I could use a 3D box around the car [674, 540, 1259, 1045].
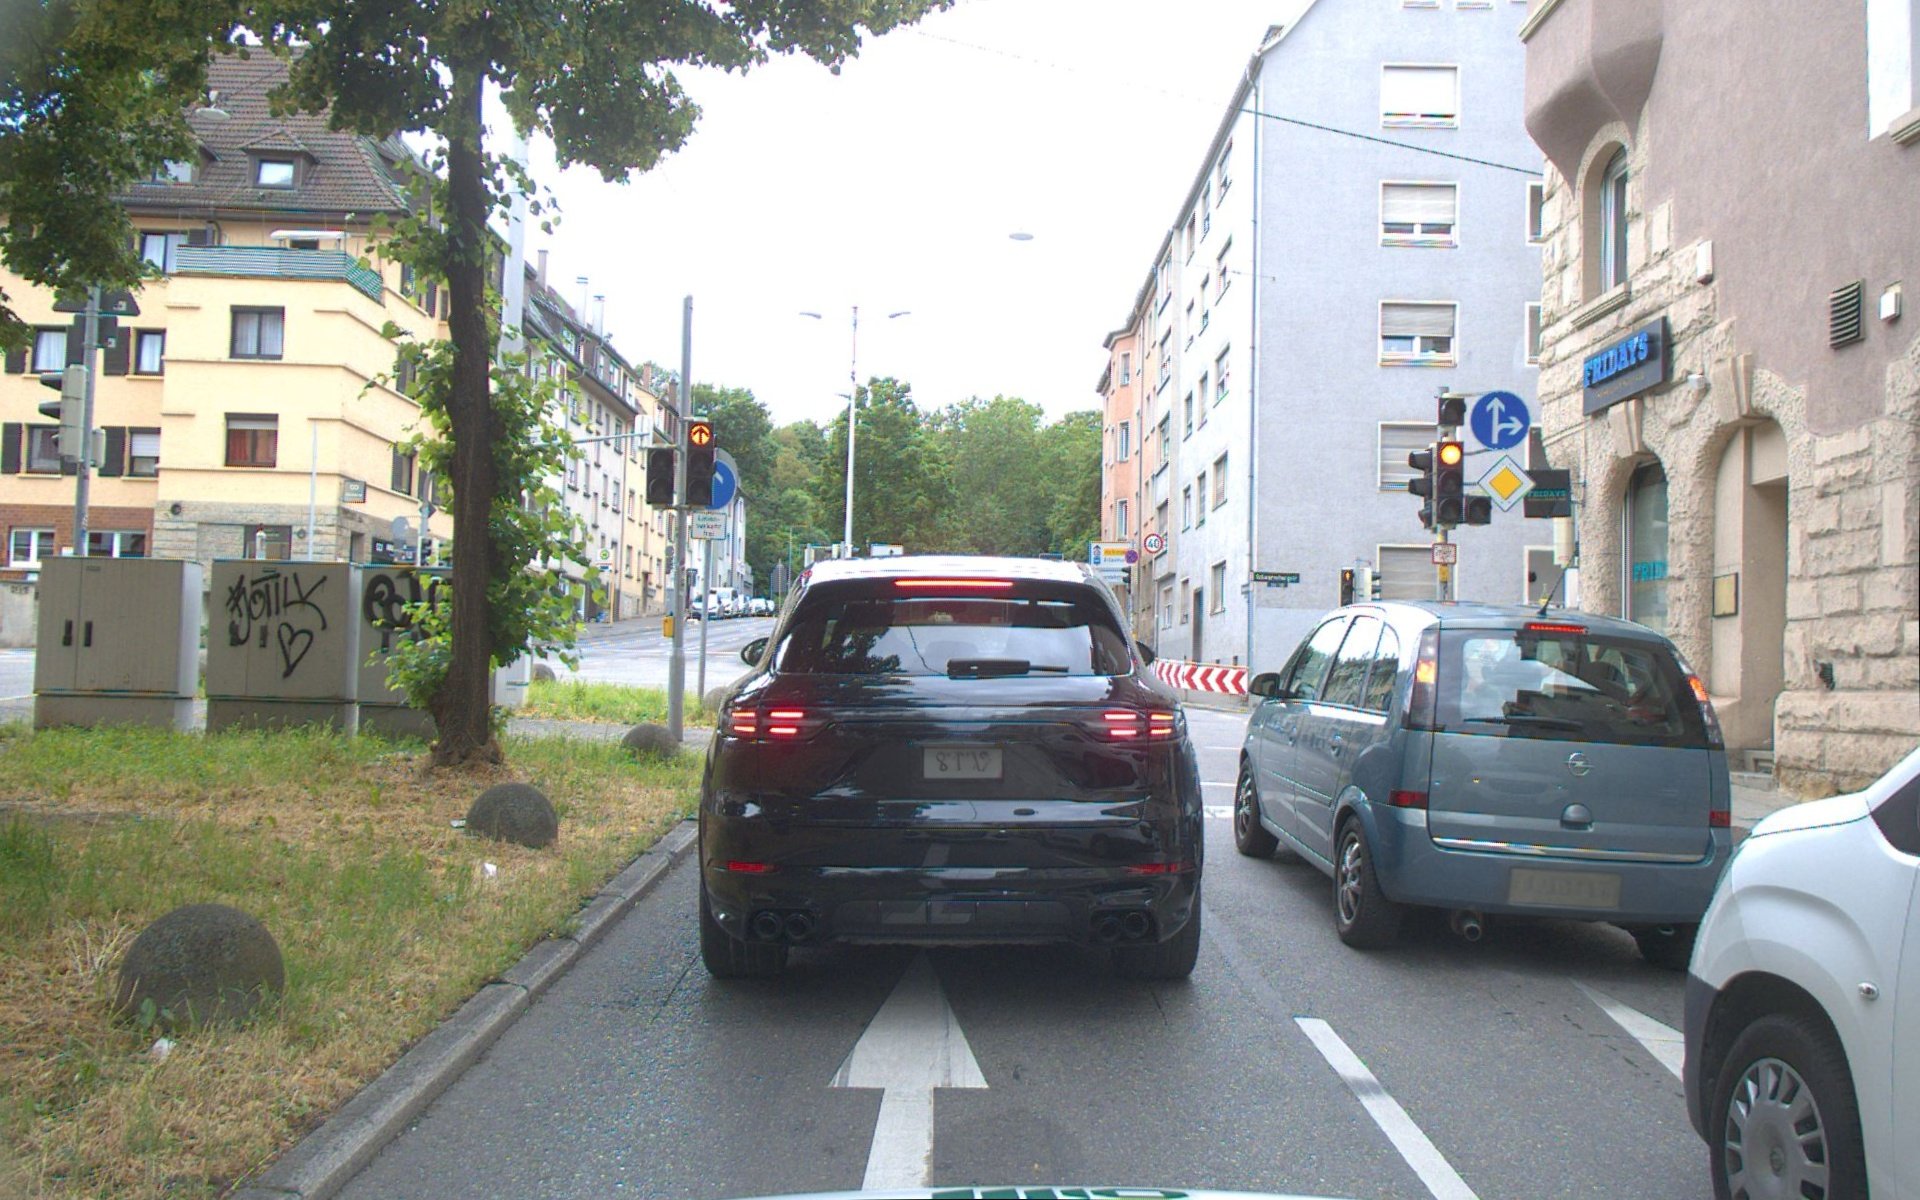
[{"bbox_3d":[0.050,0.628,7.564,1.953,1.681,4.001,1,0,1],"label":"car"}]

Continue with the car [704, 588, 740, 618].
[{"bbox_3d":[-14.975,0.177,104.139,1.758,1.841,3.999,1,0,-1],"label":"car"}]

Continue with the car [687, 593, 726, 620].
[{"bbox_3d":[-15.146,0.359,99.112,1.758,1.536,3.999,1,0,-1],"label":"car"}]

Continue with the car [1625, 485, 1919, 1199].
[{"bbox_3d":[2.781,0.705,2.470,1.811,1.857,5.022,2,-1,4],"label":"car"}]

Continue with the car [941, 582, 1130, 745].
[{"bbox_3d":[0.820,0.686,19.298,1.953,1.682,4.000,1,-1,1],"label":"car"}]

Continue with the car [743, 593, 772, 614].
[{"bbox_3d":[-15.337,0.257,125.518,1.758,1.536,3.999,1,0,-1],"label":"car"}]

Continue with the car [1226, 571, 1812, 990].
[{"bbox_3d":[2.630,0.762,8.715,1.717,1.621,3.629,4,0,-1],"label":"car"}]
